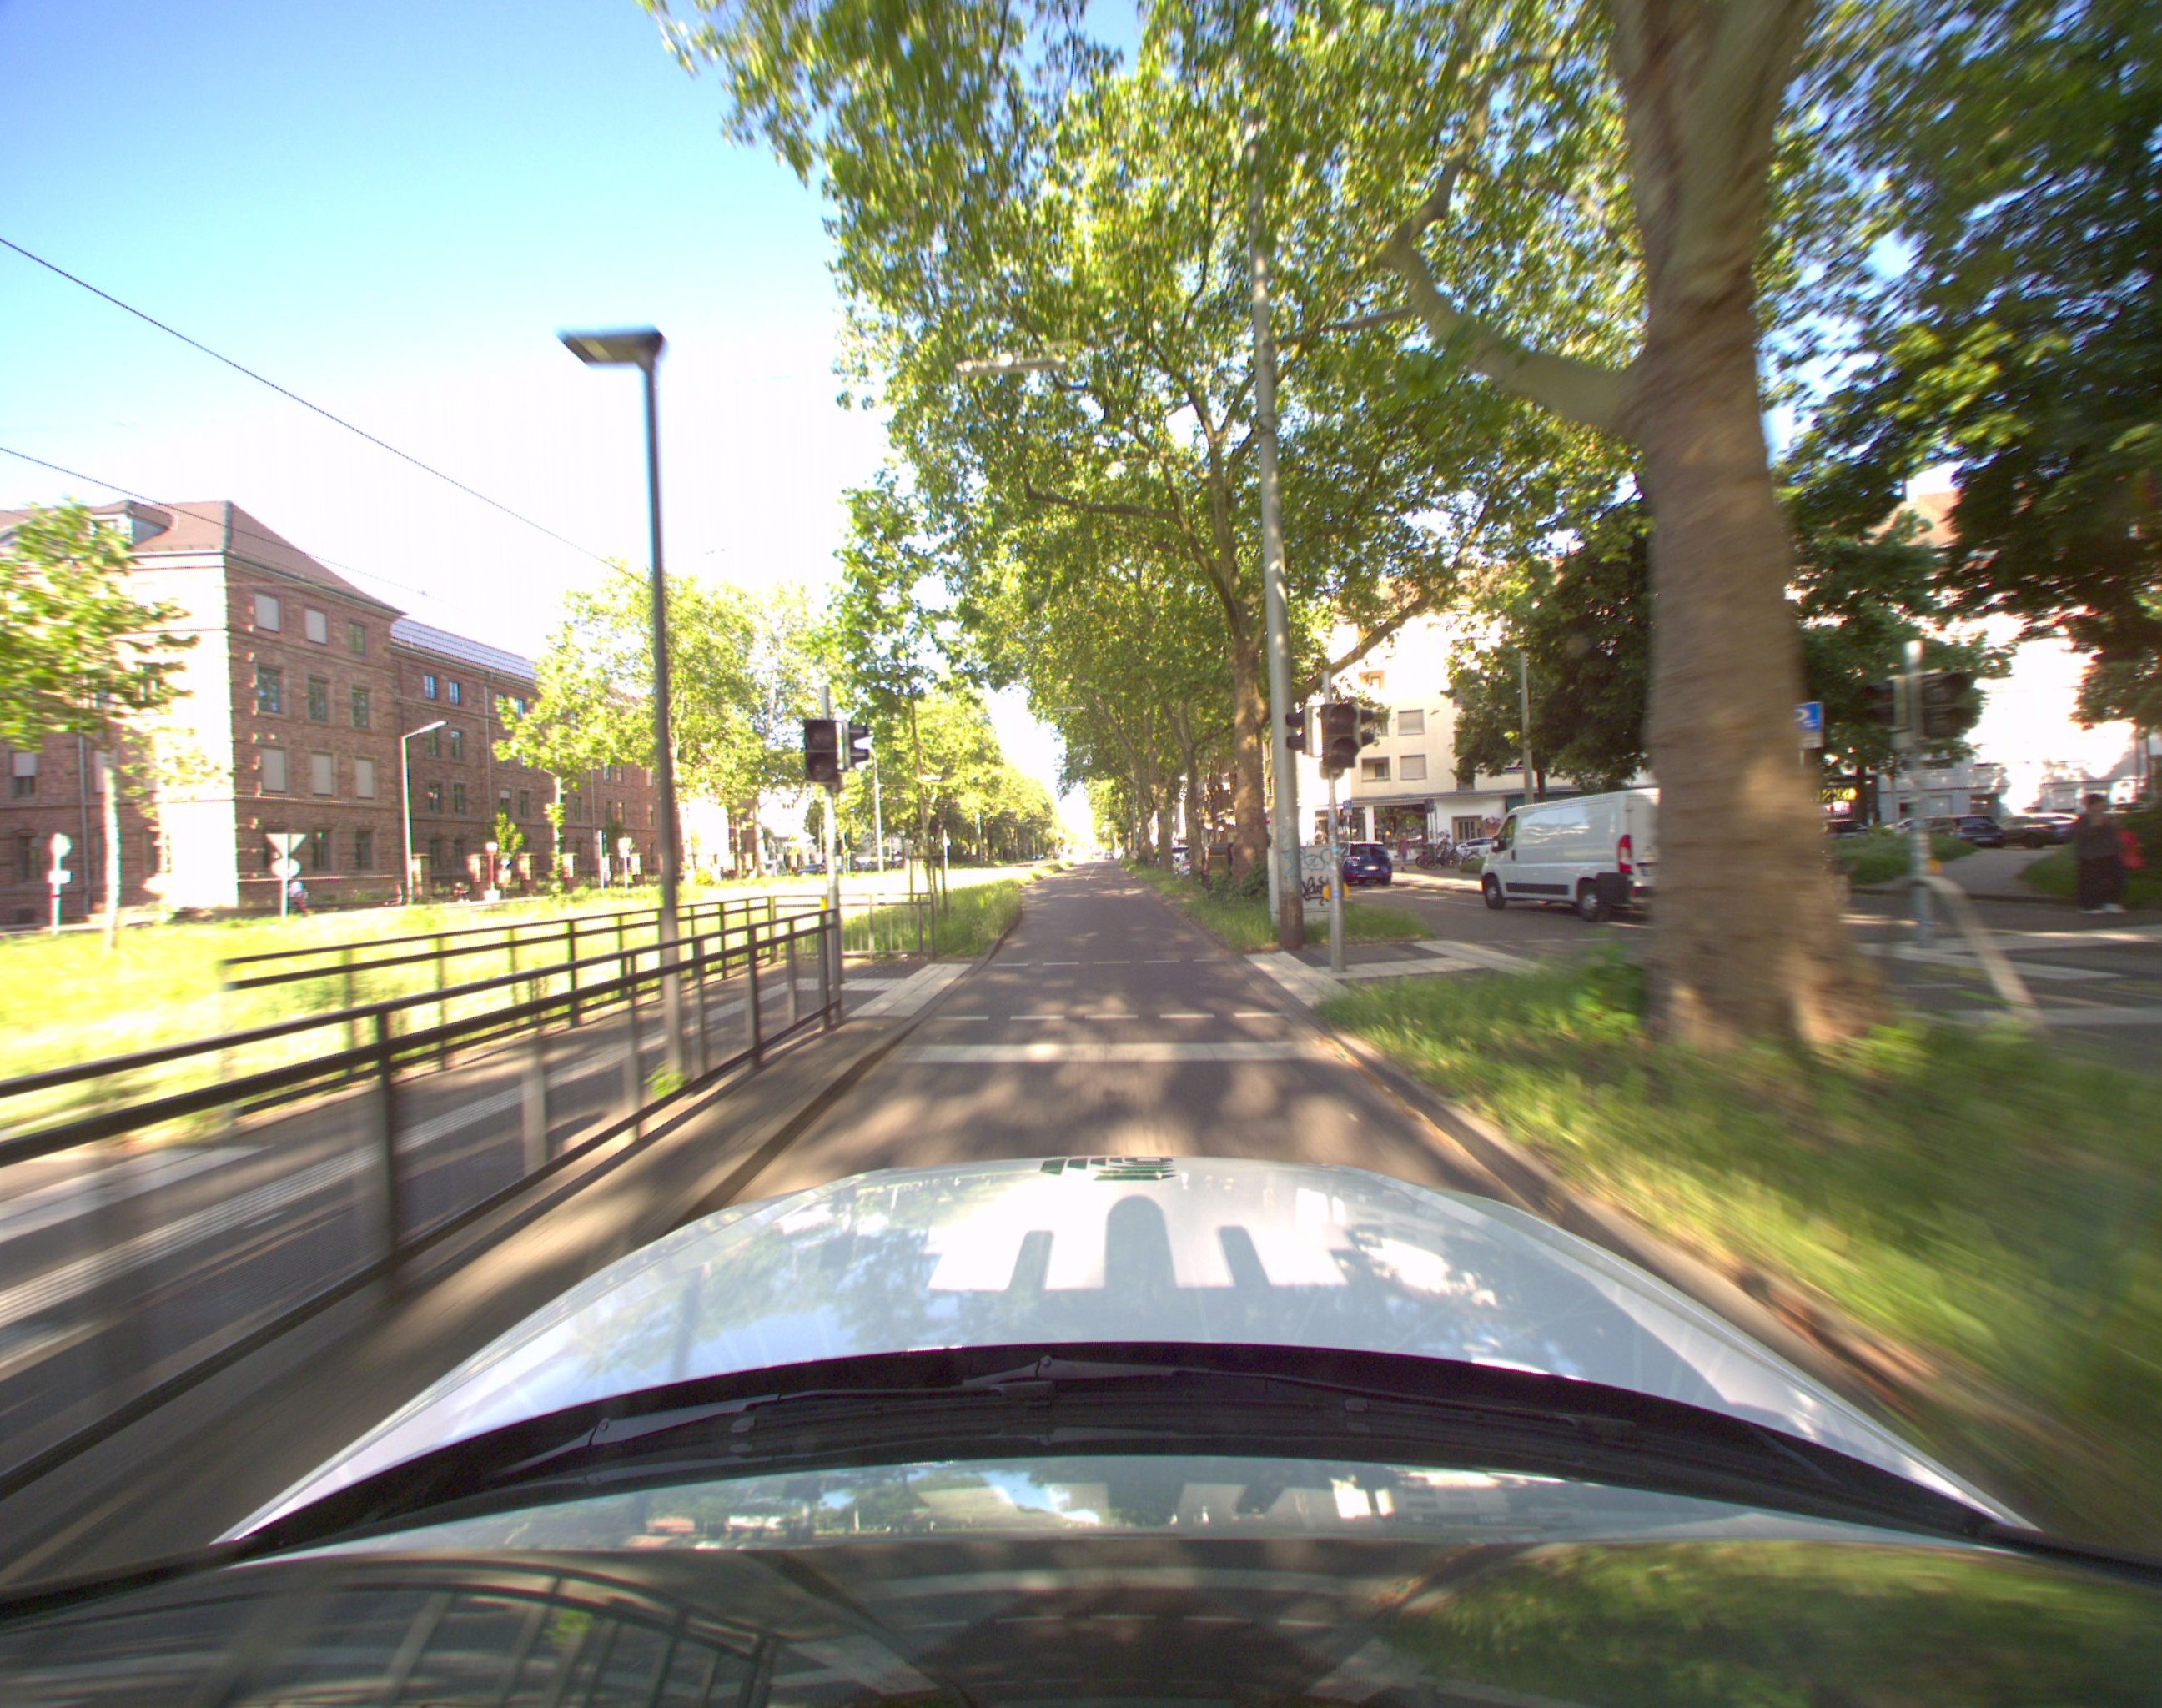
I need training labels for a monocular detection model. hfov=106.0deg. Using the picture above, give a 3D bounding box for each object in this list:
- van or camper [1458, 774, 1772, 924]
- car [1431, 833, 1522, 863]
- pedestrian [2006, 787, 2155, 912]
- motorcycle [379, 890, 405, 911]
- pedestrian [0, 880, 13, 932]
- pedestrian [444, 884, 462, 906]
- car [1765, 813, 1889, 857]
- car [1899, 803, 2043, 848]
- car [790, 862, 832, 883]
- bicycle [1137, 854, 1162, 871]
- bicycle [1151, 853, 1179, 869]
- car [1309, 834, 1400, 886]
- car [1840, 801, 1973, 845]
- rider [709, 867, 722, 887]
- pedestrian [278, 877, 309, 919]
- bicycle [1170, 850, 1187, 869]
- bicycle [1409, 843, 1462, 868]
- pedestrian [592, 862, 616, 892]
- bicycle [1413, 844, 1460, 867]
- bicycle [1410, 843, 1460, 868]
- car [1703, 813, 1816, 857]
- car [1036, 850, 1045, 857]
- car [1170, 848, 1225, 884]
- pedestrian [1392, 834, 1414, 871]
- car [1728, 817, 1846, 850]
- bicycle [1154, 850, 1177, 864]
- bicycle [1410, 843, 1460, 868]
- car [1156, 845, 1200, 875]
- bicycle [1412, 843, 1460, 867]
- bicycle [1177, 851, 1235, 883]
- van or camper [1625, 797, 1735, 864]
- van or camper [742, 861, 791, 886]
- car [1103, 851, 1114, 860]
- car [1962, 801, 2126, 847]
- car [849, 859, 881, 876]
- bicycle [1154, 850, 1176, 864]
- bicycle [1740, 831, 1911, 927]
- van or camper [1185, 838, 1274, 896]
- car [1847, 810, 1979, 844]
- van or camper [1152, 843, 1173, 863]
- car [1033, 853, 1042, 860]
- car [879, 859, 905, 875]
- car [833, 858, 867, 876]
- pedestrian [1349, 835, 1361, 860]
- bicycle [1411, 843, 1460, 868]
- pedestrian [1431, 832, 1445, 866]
[{"bbox_3d":[9.736,-0.080,15.703,2.283,2.286,5.824,-2,0,1],"label":"van or camper"},{"bbox_3d":[23.309,-0.345,48.182,4.551,1.581,2.009,-2,0,16],"label":"car"},{"bbox_3d":[13.737,-0.054,11.228,0.729,1.616,1.035,-2,0,1],"label":"pedestrian"},{"bbox_3d":[-32.833,2.204,38.823,0.333,0.946,1.043,-2,0,-2],"label":"motorcycle"},{"bbox_3d":[-35.792,1.707,26.613,0.682,1.695,0.820,-2,0,-17],"label":"pedestrian"},{"bbox_3d":[-32.965,2.129,42.731,0.443,1.100,0.587,-2,0,-3],"label":"pedestrian"},{"bbox_3d":[31.725,-0.766,34.844,1.978,1.669,4.766,-2,0,16],"label":"car"},{"bbox_3d":[36.325,-1.114,33.430,1.978,1.628,4.409,-2,0,16],"label":"car"},{"bbox_3d":[-24.456,1.686,74.047,1.986,1.649,4.830,-2,1,2],"label":"car"},{"bbox_3d":[4.531,0.566,54.161,1.584,1.058,0.405,-2,0,8],"label":"bicycle"},{"bbox_3d":[5.370,0.462,52.040,1.773,0.928,0.646,-2,0,-40],"label":"bicycle"},{"bbox_3d":[10.346,0.199,31.237,1.813,1.742,5.169,-2,0,2],"label":"car"},{"bbox_3d":[34.357,-1.221,34.098,1.978,1.628,4.409,-2,0,16],"label":"car"},{"bbox_3d":[-31.294,1.984,69.656,0.725,1.644,0.686,-3,0,2],"label":"rider"},{"bbox_3d":[-33.452,1.853,34.614,0.684,1.695,0.876,-2,0,-27],"label":"pedestrian"},{"bbox_3d":[5.057,0.261,42.310,0.637,0.925,2.165,-2,0,1],"label":"bicycle"},{"bbox_3d":[16.426,0.071,37.727,2.169,1.103,0.511,-2,0,26],"label":"bicycle"},{"bbox_3d":[-31.685,1.538,54.116,0.897,1.899,0.942,-2,0,2],"label":"pedestrian"},{"bbox_3d":[17.669,0.077,40.489,2.119,1.103,0.475,-2,0,26],"label":"bicycle"},{"bbox_3d":[16.939,0.070,38.992,2.119,1.103,0.511,-2,0,26],"label":"bicycle"},{"bbox_3d":[29.103,-0.793,35.132,1.978,1.669,4.766,-2,0,16],"label":"car"},{"bbox_3d":[-11.222,-0.177,226.120,1.985,1.870,4.876,-4,0,3],"label":"car"},{"bbox_3d":[4.912,0.469,34.978,1.747,1.398,5.028,-2,0,1],"label":"car"},{"bbox_3d":[14.563,-0.068,36.879,0.675,1.651,0.907,-2,0,8],"label":"pedestrian"},{"bbox_3d":[37.837,-1.070,43.776,4.347,1.536,2.009,-2,0,17],"label":"car"},{"bbox_3d":[8.502,0.314,81.954,2.156,1.294,0.983,-1,0,1],"label":"bicycle"},{"bbox_3d":[16.654,0.074,38.326,2.119,1.103,0.511,-2,0,26],"label":"bicycle"},{"bbox_3d":[5.657,0.320,48.005,1.897,1.636,4.822,-2,0,-1],"label":"car"},{"bbox_3d":[17.431,0.069,40.018,2.119,1.103,0.511,-2,0,26],"label":"bicycle"},{"bbox_3d":[4.700,0.490,30.762,2.063,1.124,0.677,-2,0,0],"label":"bicycle"},{"bbox_3d":[26.375,-0.998,36.145,2.130,2.636,5.613,-2,0,17],"label":"van or camper"},{"bbox_3d":[-24.569,1.483,63.807,1.987,1.787,4.431,-3,0,0],"label":"van or camper"},{"bbox_3d":[5.301,0.354,157.341,2.014,1.662,4.001,-2,0,1],"label":"car"},{"bbox_3d":[38.561,-1.150,32.821,1.978,1.628,4.674,-2,0,16],"label":"car"},{"bbox_3d":[-23.892,1.453,90.195,1.984,1.615,4.427,-2,0,6],"label":"car"},{"bbox_3d":[8.311,0.314,80.807,2.155,1.294,0.984,-1,0,3],"label":"bicycle"},{"bbox_3d":[10.727,0.342,11.783,1.600,1.263,0.962,-2,0,-3],"label":"bicycle"},{"bbox_3d":[4.387,0.381,24.434,1.504,1.588,2.825,-2,0,-15],"label":"van or camper"},{"bbox_3d":[43.166,-1.373,42.360,4.347,1.536,2.009,-2,0,17],"label":"car"},{"bbox_3d":[8.733,-0.105,87.926,1.828,2.098,4.774,0,0,0],"label":"van or camper"},{"bbox_3d":[-11.412,0.661,213.251,1.788,1.508,4.341,-5,0,3],"label":"car"},{"bbox_3d":[-23.463,1.570,101.186,2.102,1.809,4.737,-2,0,0],"label":"car"},{"bbox_3d":[-23.989,1.304,84.700,1.759,1.719,4.427,-2,0,6],"label":"car"},{"bbox_3d":[17.971,-0.427,53.378,0.587,1.650,0.727,-2,0,12],"label":"pedestrian"},{"bbox_3d":[17.182,0.073,39.510,2.119,1.103,0.511,-2,0,26],"label":"bicycle"},{"bbox_3d":[18.028,-0.254,41.137,0.581,1.651,0.557,-2,0,27],"label":"pedestrian"}]
